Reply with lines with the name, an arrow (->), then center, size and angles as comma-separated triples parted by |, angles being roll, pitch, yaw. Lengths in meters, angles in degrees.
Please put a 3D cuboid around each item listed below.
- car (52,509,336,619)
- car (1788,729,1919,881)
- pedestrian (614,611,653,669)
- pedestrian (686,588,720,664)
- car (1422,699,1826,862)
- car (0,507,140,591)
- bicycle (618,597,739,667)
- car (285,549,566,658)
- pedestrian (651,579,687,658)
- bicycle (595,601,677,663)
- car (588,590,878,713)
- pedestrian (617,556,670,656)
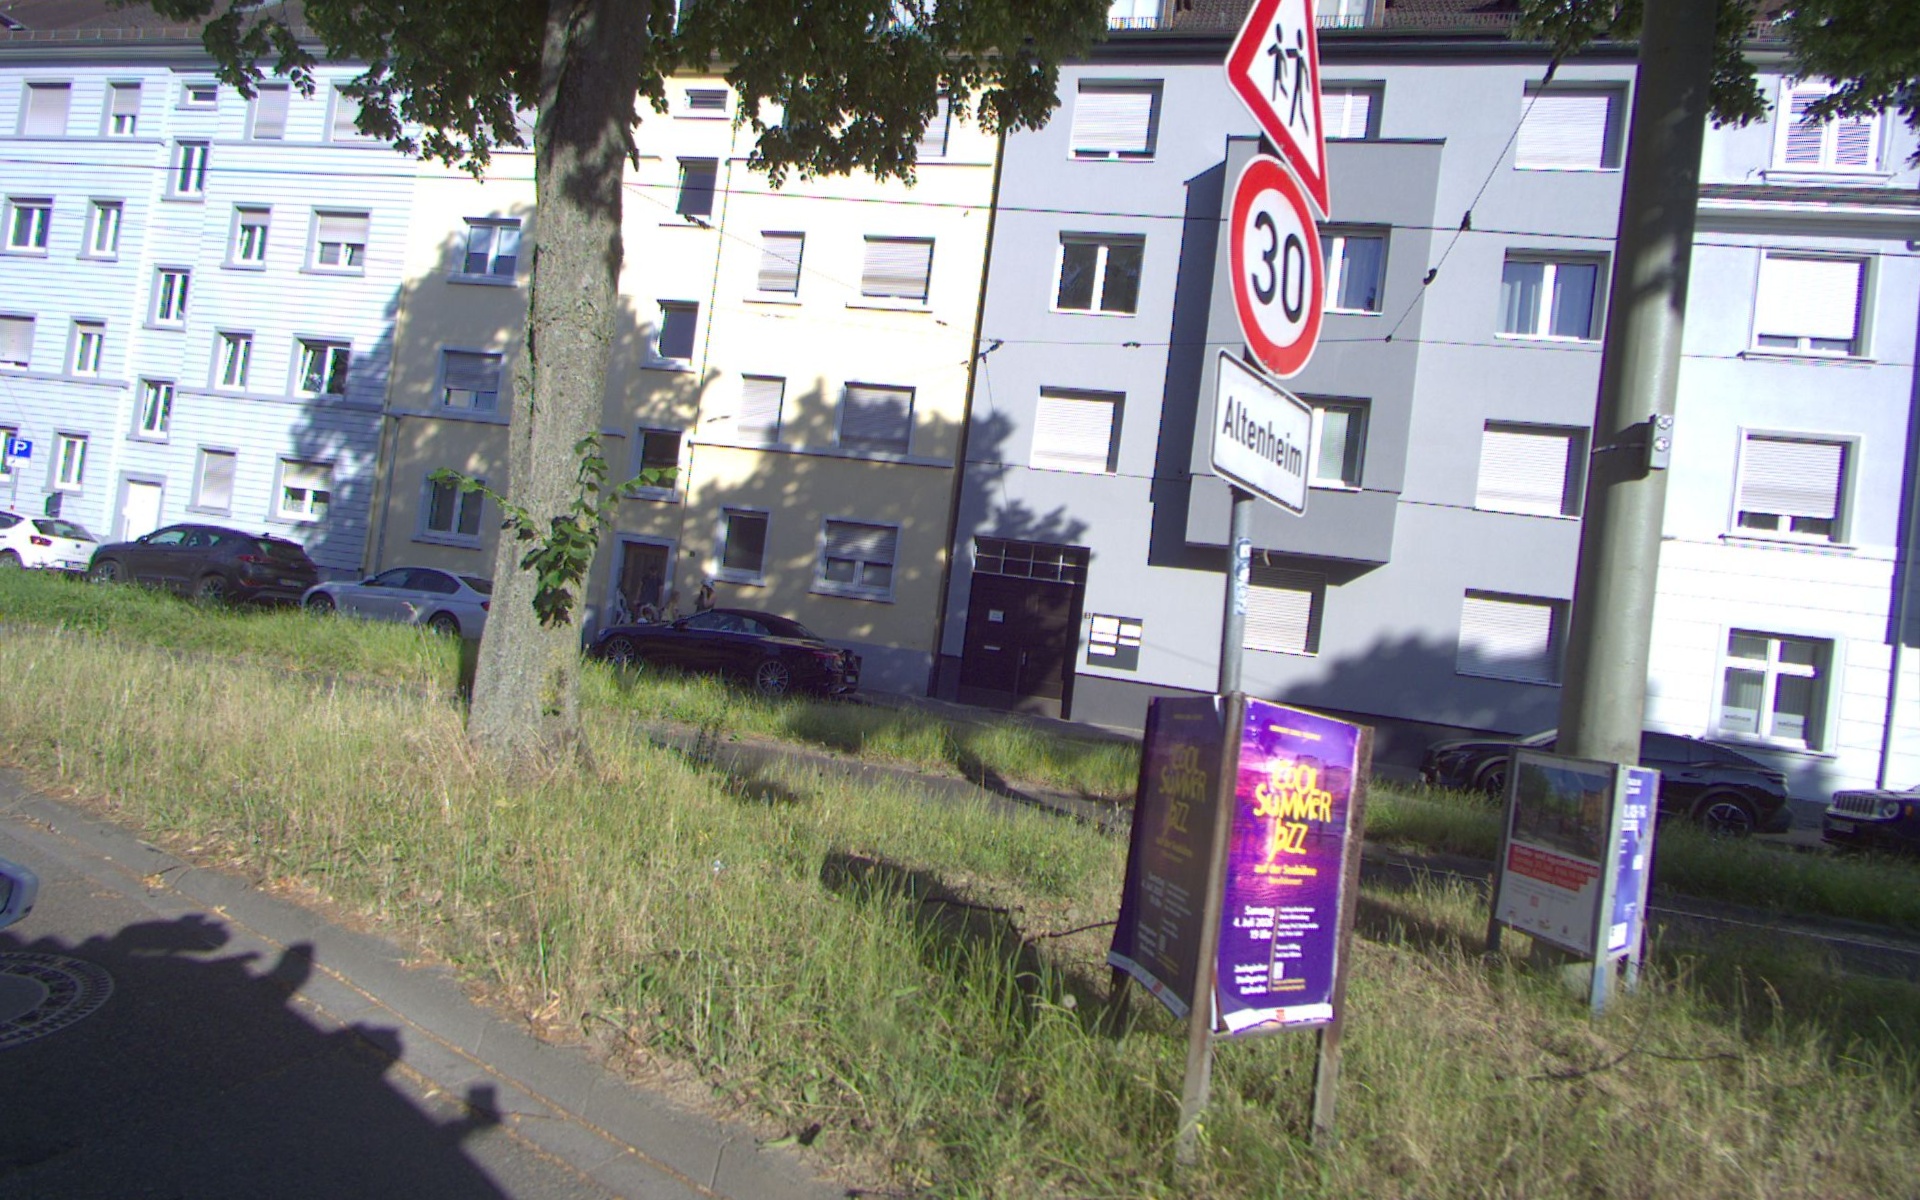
car -> -15.561, -0.700, 20.539 | 4.552, 1.591, 2.002 | 7, -1, 12
car -> 14.335, 3.037, 13.675 | 4.129, 1.769, 2.002 | 8, -1, 12
pedestrian -> -6.424, 0.795, 19.800 | 0.452, 1.078, 0.433 | 7, -1, 13
pedestrian -> -5.399, 0.551, 21.120 | 0.435, 1.533, 0.305 | 7, 0, 5
car -> 9.403, 2.514, 14.680 | 4.361, 1.403, 2.002 | 8, -1, 12
car -> -20.567, -1.252, 21.668 | 4.361, 1.403, 2.002 | 8, -1, 9
bicycle -> -5.711, 0.649, 20.429 | 2.264, 1.145, 0.536 | 6, -1, 12
car -> -10.166, 0.093, 19.282 | 4.361, 1.403, 2.002 | 8, -1, 12
pedestrian -> -5.912, 0.379, 20.454 | 0.435, 1.533, 0.333 | 7, 0, 8
bicycle -> -6.944, 0.694, 21.558 | 1.487, 1.145, 0.536 | 6, -1, 12
car -> -3.887, 0.880, 17.568 | 4.361, 1.403, 2.002 | 8, -1, 12
pedestrian -> -6.800, 0.142, 21.635 | 0.637, 2.037, 0.614 | 7, -1, 12
